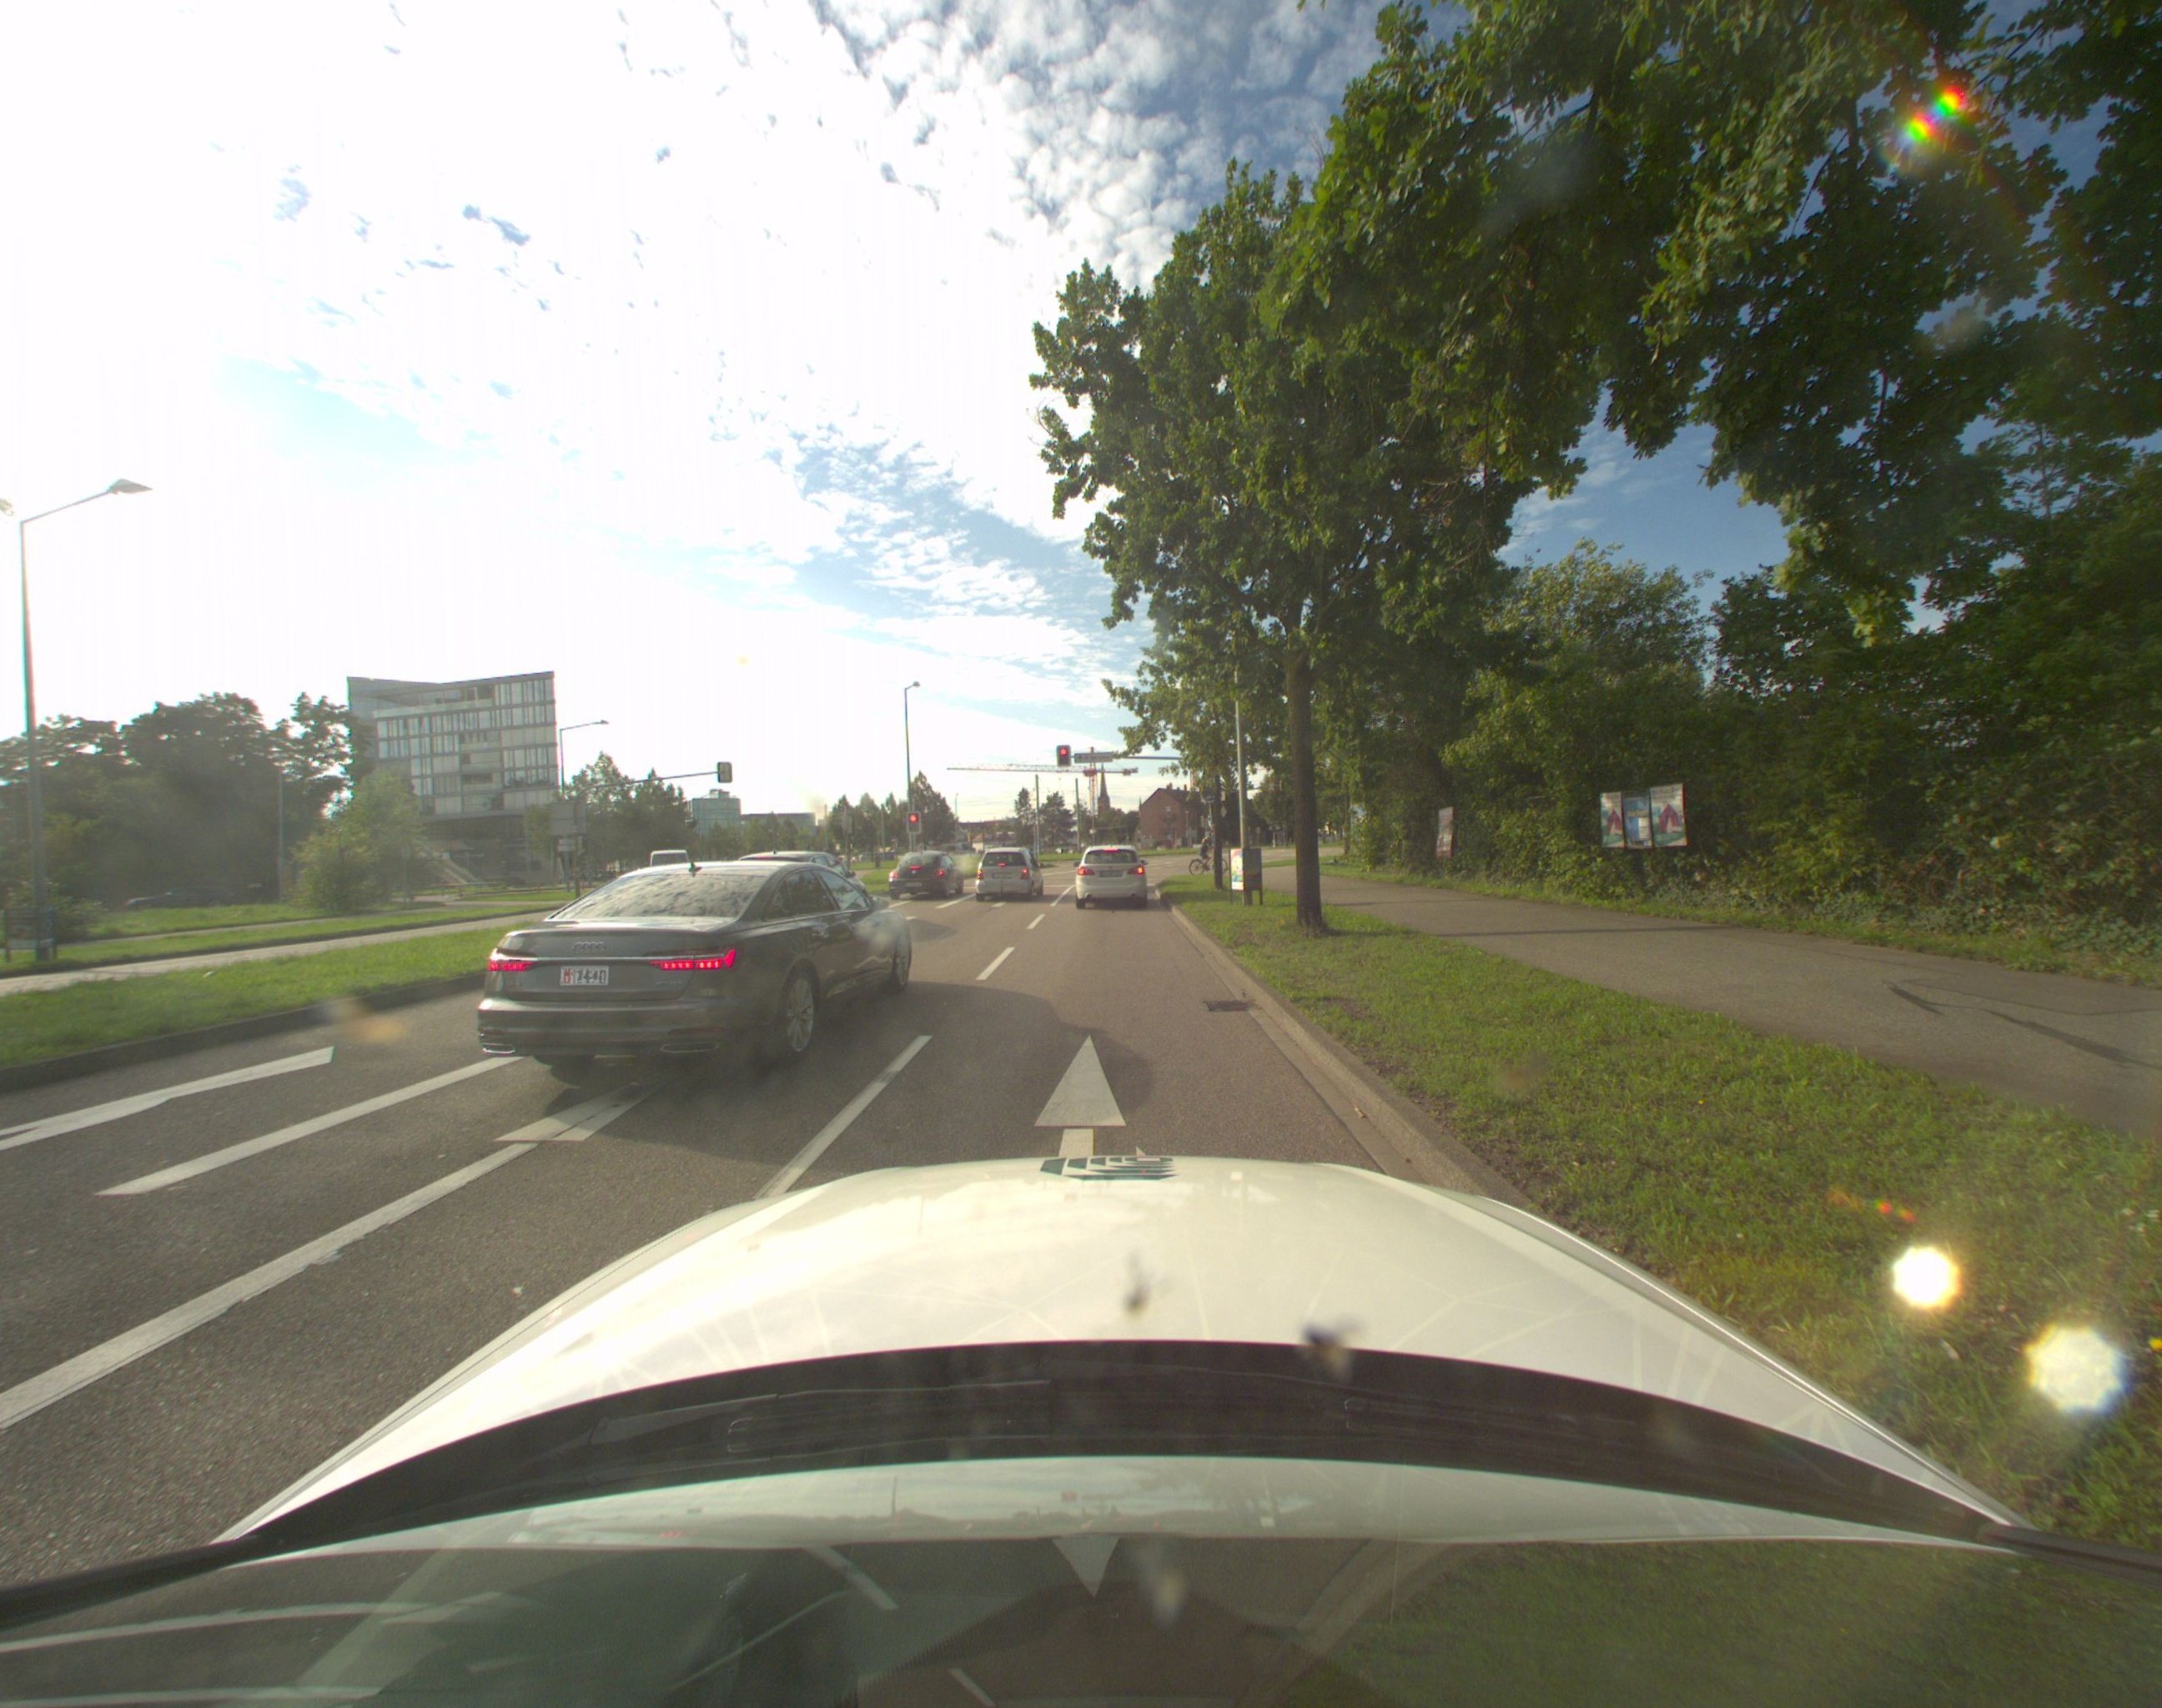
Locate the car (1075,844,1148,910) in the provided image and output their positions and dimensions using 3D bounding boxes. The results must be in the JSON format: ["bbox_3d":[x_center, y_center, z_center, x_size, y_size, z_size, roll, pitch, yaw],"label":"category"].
[{"bbox_3d":[0.793,0.524,21.601,1.723,1.558,4.059,-1,0,1],"label":"car"}]

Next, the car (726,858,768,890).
[{"bbox_3d":[-18.348,1.079,44.883,1.710,1.573,3.975,-4,0,-18],"label":"car"}]

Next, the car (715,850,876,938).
[{"bbox_3d":[-5.666,0.712,16.741,1.722,1.558,4.021,-1,0,2],"label":"car"}]

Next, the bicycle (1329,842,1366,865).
[{"bbox_3d":[14.214,-0.006,43.439,1.728,1.163,0.652,-2,0,-15],"label":"bicycle"}]

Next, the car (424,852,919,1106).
[{"bbox_3d":[-2.905,0.743,7.159,1.883,1.483,4.614,-1,0,2],"label":"car"}]

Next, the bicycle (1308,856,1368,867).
[{"bbox_3d":[10.916,0.329,34.712,1.407,0.385,2.568,-3,0,-9],"label":"bicycle"}]

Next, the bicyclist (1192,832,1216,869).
[{"bbox_3d":[5.503,-0.154,36.445,0.830,1.647,0.683,-1,0,-11],"label":"bicyclist"}]

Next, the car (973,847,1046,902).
[{"bbox_3d":[-2.138,0.563,25.258,1.722,1.558,4.060,-1,0,2],"label":"car"}]

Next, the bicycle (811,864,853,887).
[{"bbox_3d":[-11.386,0.971,37.252,1.670,0.967,0.643,-3,0,-4],"label":"bicycle"}]

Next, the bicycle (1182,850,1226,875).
[{"bbox_3d":[5.491,0.380,36.432,1.771,1.050,0.708,-2,0,-11],"label":"bicycle"}]

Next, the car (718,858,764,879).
[{"bbox_3d":[-36.147,1.532,86.736,1.804,2.014,4.263,-3,-1,29],"label":"car"}]

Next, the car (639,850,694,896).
[{"bbox_3d":[-23.019,1.050,45.384,2.001,2.235,5.882,-4,0,-21],"label":"car"}]

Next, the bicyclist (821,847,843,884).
[{"bbox_3d":[-11.387,0.514,37.258,0.786,1.668,0.549,-3,0,-3],"label":"bicyclist"}]

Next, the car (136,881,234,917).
[{"bbox_3d":[-55.843,2.772,50.897,1.975,2.014,4.023,-1,-1,44],"label":"car"}]

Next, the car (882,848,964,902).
[{"bbox_3d":[-4.984,0.602,26.185,1.714,1.564,3.880,-1,1,2],"label":"car"}]

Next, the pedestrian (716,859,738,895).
[{"bbox_3d":[-15.737,1.003,36.186,0.653,1.569,0.615,-2,0,-2],"label":"pedestrian"}]
